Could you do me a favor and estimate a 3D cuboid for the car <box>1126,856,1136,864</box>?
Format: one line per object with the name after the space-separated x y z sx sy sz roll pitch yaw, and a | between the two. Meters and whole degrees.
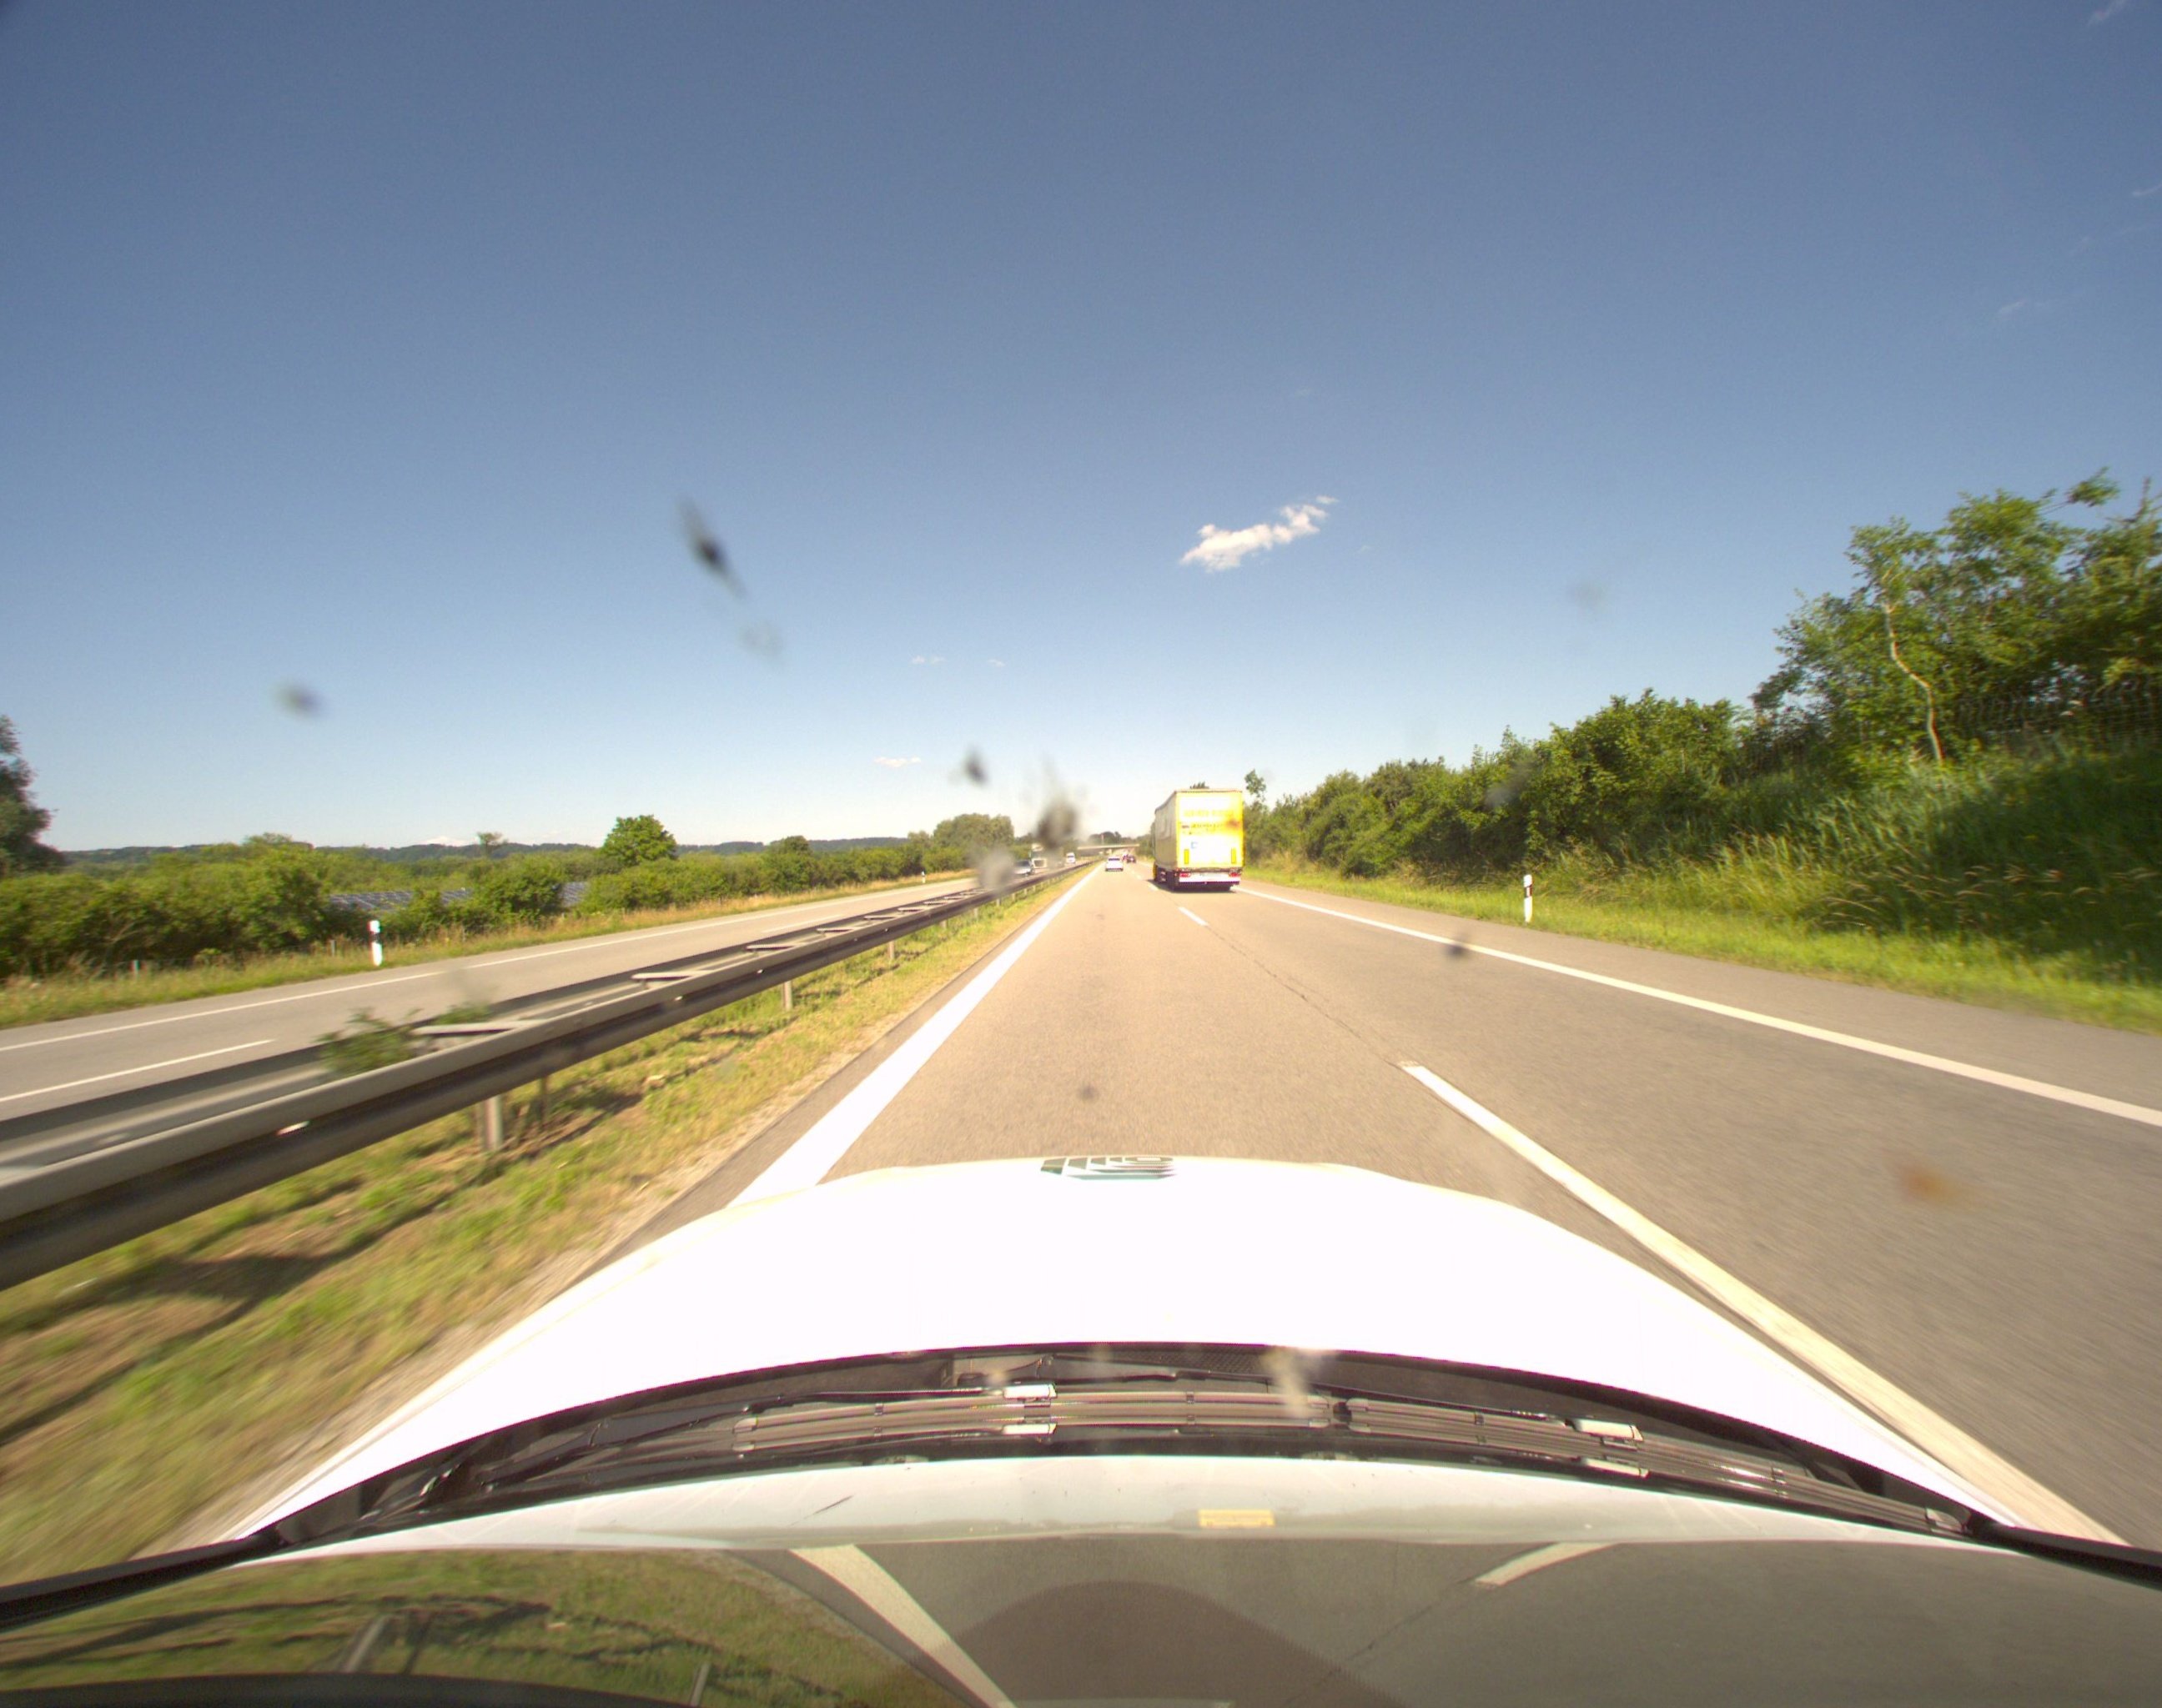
9.854 1.109 159.797 1.835 1.520 4.003 0 0 3 | car

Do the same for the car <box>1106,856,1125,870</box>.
3.443 0.887 81.797 1.835 1.415 4.003 0 0 3 | car

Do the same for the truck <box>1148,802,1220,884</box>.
5.377 -0.530 43.782 3.158 4.114 6.389 0 0 1 | truck

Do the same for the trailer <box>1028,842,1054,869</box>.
-6.745 0.301 138.893 3.174 4.059 14.598 -4 0 1 | trailer

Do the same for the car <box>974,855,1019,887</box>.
-5.392 1.056 52.342 1.942 1.771 4.753 -5 -1 4 | car

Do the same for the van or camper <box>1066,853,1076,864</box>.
-2.475 1.162 199.324 1.986 2.497 7.231 -4 -1 2 | van or camper

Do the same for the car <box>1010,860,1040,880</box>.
-4.664 1.318 68.308 1.759 1.420 4.474 -5 -1 4 | car

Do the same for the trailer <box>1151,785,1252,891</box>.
5.152 -0.570 37.665 3.172 4.059 13.192 0 0 2 | trailer

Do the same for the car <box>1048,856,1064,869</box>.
-3.420 1.179 113.633 1.719 1.582 4.770 -5 -1 2 | car

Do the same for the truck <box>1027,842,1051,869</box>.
-6.767 0.276 132.287 3.158 4.114 6.389 -4 0 1 | truck
